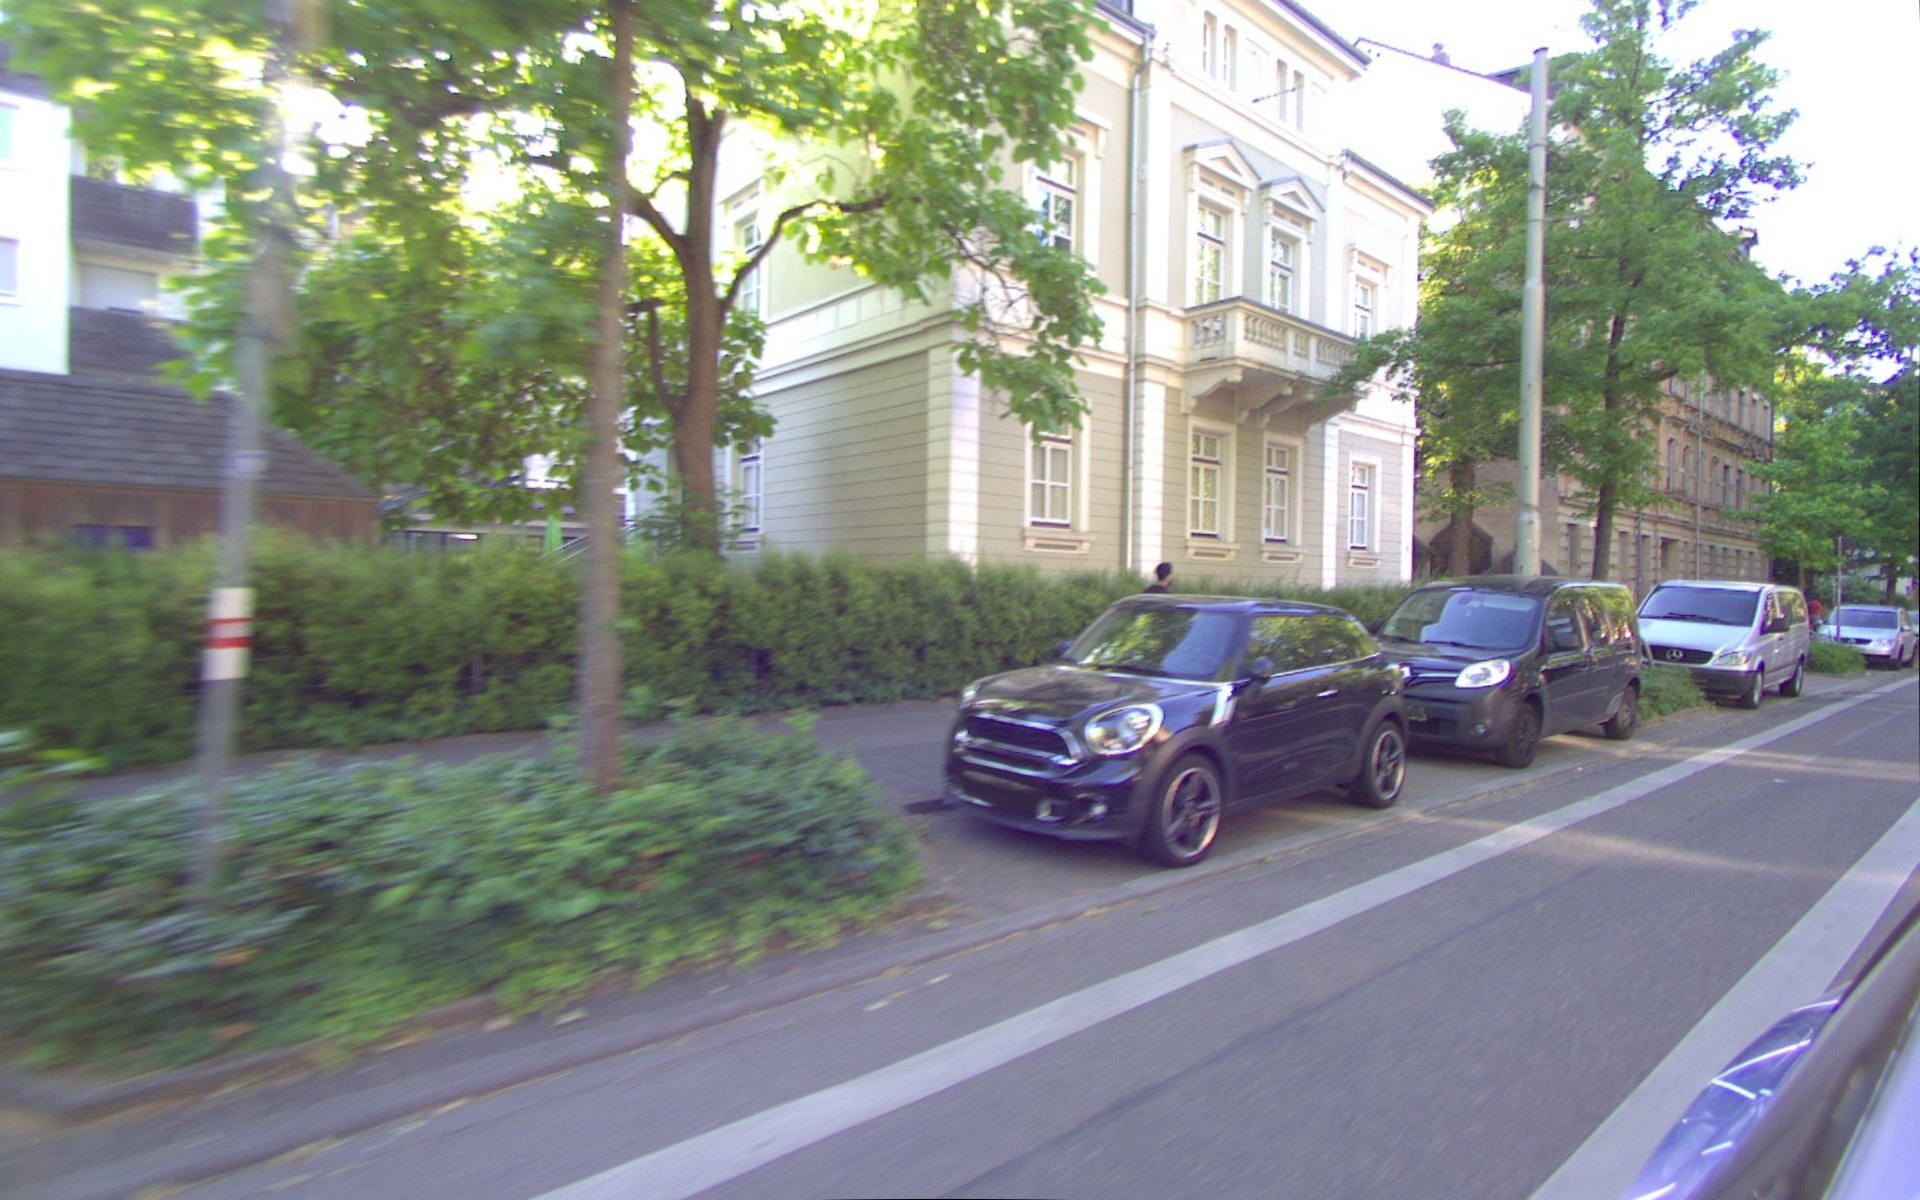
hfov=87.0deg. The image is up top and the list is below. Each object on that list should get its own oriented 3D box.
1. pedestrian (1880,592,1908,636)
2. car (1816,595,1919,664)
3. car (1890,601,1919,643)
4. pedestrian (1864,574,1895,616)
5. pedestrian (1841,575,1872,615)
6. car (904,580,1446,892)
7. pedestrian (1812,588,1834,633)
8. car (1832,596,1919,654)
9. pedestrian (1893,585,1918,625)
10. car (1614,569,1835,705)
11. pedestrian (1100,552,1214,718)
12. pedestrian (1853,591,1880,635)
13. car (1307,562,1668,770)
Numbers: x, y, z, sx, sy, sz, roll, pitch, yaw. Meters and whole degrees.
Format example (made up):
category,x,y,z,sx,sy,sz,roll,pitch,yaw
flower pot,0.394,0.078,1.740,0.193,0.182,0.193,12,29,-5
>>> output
category,x,y,z,sx,sy,sz,roll,pitch,yaw
pedestrian,36.966,0.553,40.061,0.940,1.714,0.727,0,0,-42
car,24.353,0.709,26.811,4.168,1.587,1.888,0,3,-41
car,34.742,0.807,36.057,4.035,1.384,1.888,0,3,-41
pedestrian,41.221,-0.228,45.375,0.836,1.815,0.729,1,2,-30
pedestrian,40.649,-0.228,45.903,0.948,1.815,0.729,1,2,-30
car,1.696,0.675,7.143,3.968,1.532,1.715,0,3,-42
pedestrian,35.555,0.419,41.708,0.716,1.816,0.599,0,-1,-43
car,27.978,0.694,30.505,4.513,1.485,1.888,0,3,-41
pedestrian,43.135,0.218,46.169,0.590,1.816,0.727,0,0,-40
car,12.743,0.498,16.743,4.880,1.874,1.888,0,3,-41
pedestrian,2.183,0.366,11.246,0.820,1.733,0.832,2,1,-39
pedestrian,36.487,0.503,40.728,0.842,1.731,0.726,0,0,-44
car,5.821,0.531,10.907,4.596,1.788,1.889,0,1,-41
